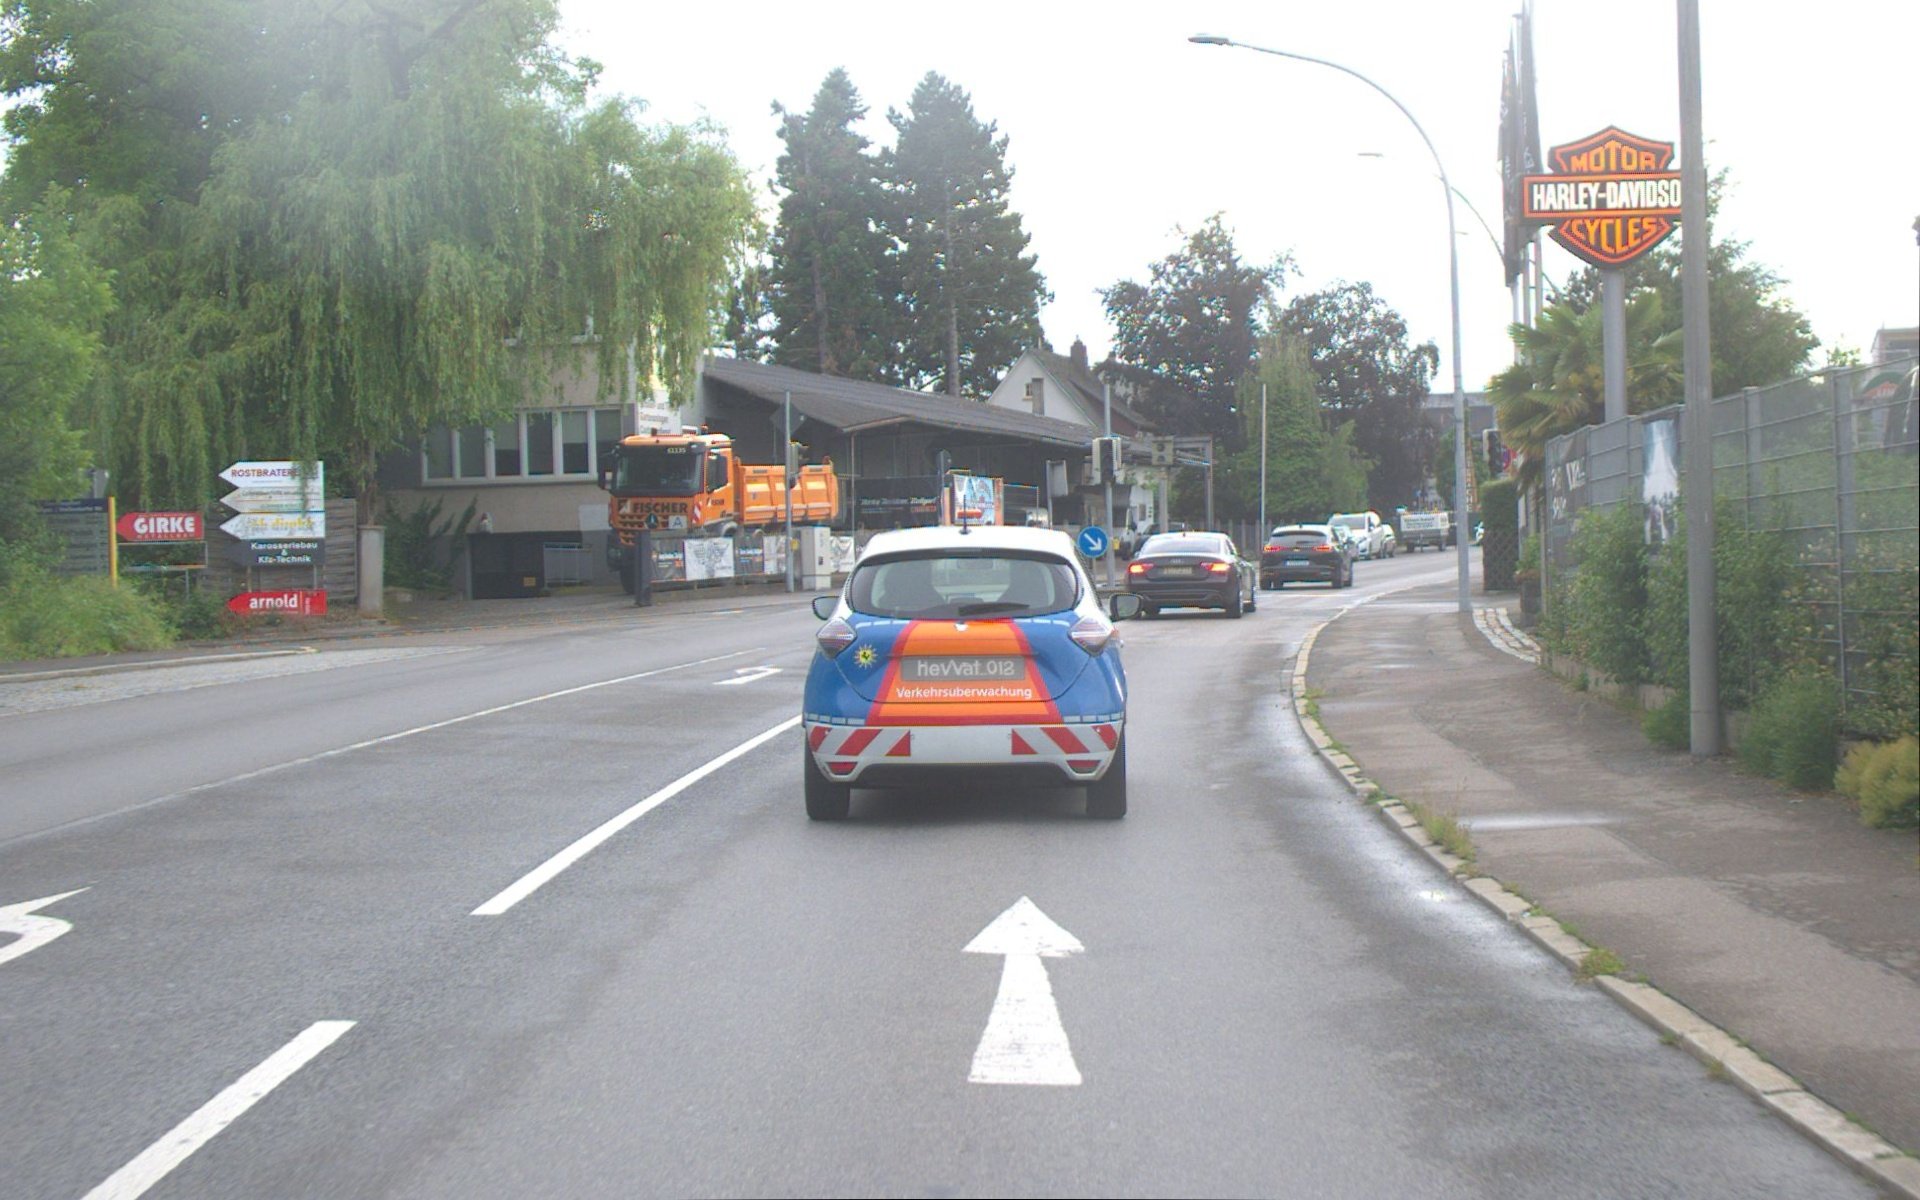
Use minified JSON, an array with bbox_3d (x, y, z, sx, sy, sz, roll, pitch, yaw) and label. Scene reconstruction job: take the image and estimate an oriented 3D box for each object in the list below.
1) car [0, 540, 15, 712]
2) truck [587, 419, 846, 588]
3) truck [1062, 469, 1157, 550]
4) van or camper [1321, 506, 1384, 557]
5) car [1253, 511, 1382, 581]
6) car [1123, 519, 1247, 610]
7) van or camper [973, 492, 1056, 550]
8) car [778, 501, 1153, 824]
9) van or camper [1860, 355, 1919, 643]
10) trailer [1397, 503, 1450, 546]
[{"bbox_3d":[-9.276,0.189,27.362,1.994,1.469,4.700,1,0,3],"label":"car"},{"bbox_3d":[-5.303,-2.065,77.041,2.700,3.400,9.064,1,0,17],"label":"truck"},{"bbox_3d":[5.694,-3.384,129.899,2.396,2.917,5.953,1,1,14],"label":"truck"},{"bbox_3d":[15.724,-2.753,137.461,1.891,2.007,5.094,0,1,14],"label":"van or camper"},{"bbox_3d":[7.875,-1.167,75.416,1.995,1.415,3.996,1,0,18],"label":"car"},{"bbox_3d":[3.584,-0.542,55.319,1.720,1.371,3.934,1,0,0],"label":"car"},{"bbox_3d":[1.901,-2.693,117.867,1.994,1.902,4.470,1,1,12],"label":"van or camper"},{"bbox_3d":[0.064,0.270,19.458,1.888,1.626,4.000,-1,1,1],"label":"car"},{"bbox_3d":[10.114,-1.022,33.971,2.042,2.584,6.586,-1,1,12],"label":"van or camper"},{"bbox_3d":[22.114,-3.586,163.798,2.221,2.007,4.435,0,1,11],"label":"trailer"}]
